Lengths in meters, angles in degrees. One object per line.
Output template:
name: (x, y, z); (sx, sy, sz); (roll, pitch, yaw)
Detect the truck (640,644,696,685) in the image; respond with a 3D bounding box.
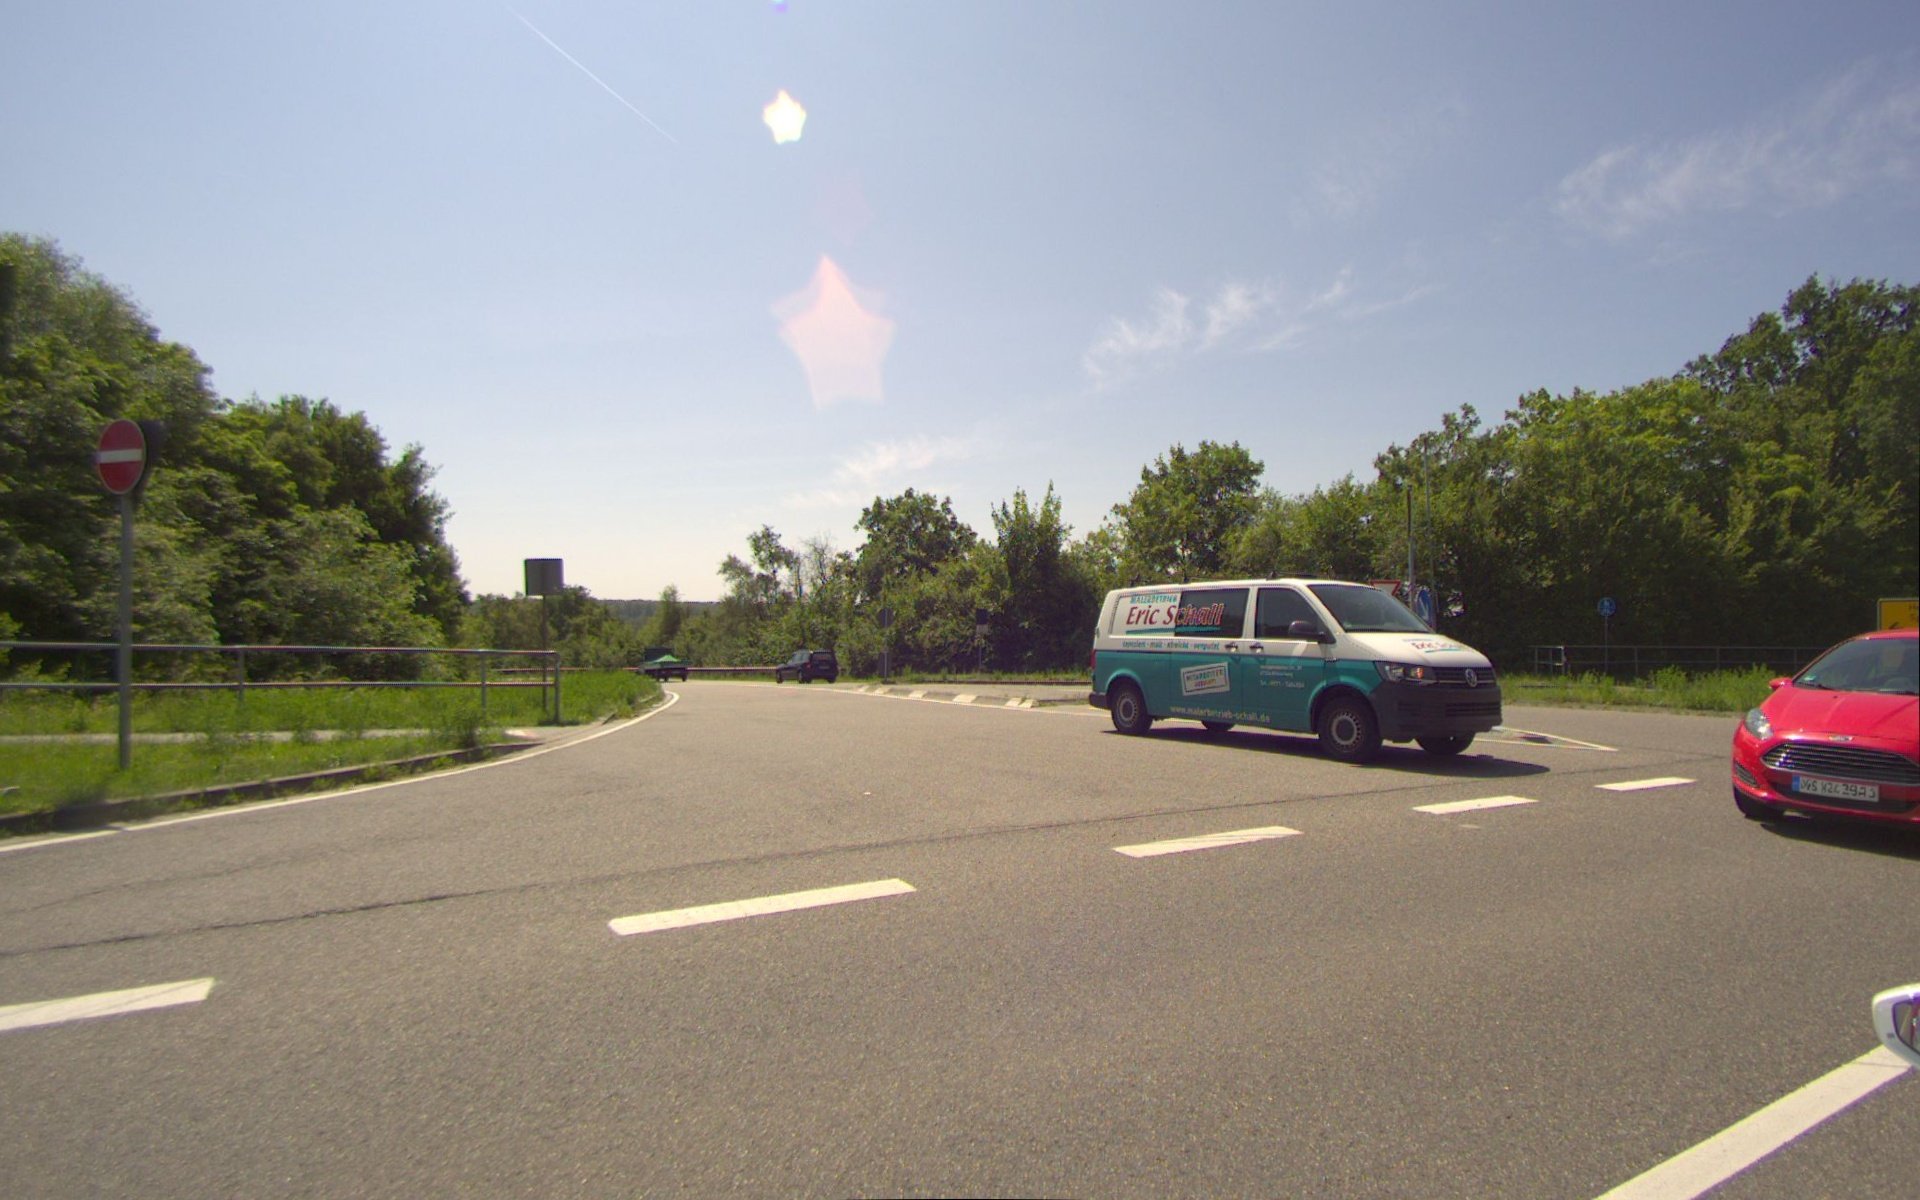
truck: (-19.661, 4.371, 67.447); (2.120, 2.597, 6.591); (2, -5, -29)

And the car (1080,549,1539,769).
car: (3.822, 0.666, 12.097); (1.978, 2.054, 5.144); (1, -3, -31)

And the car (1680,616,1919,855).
car: (7.411, 0.907, 7.631); (3.714, 1.477, 1.801); (2, -1, -30)

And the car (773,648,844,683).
car: (-6.904, 2.919, 45.477); (1.709, 1.476, 3.760); (1, -2, -35)
